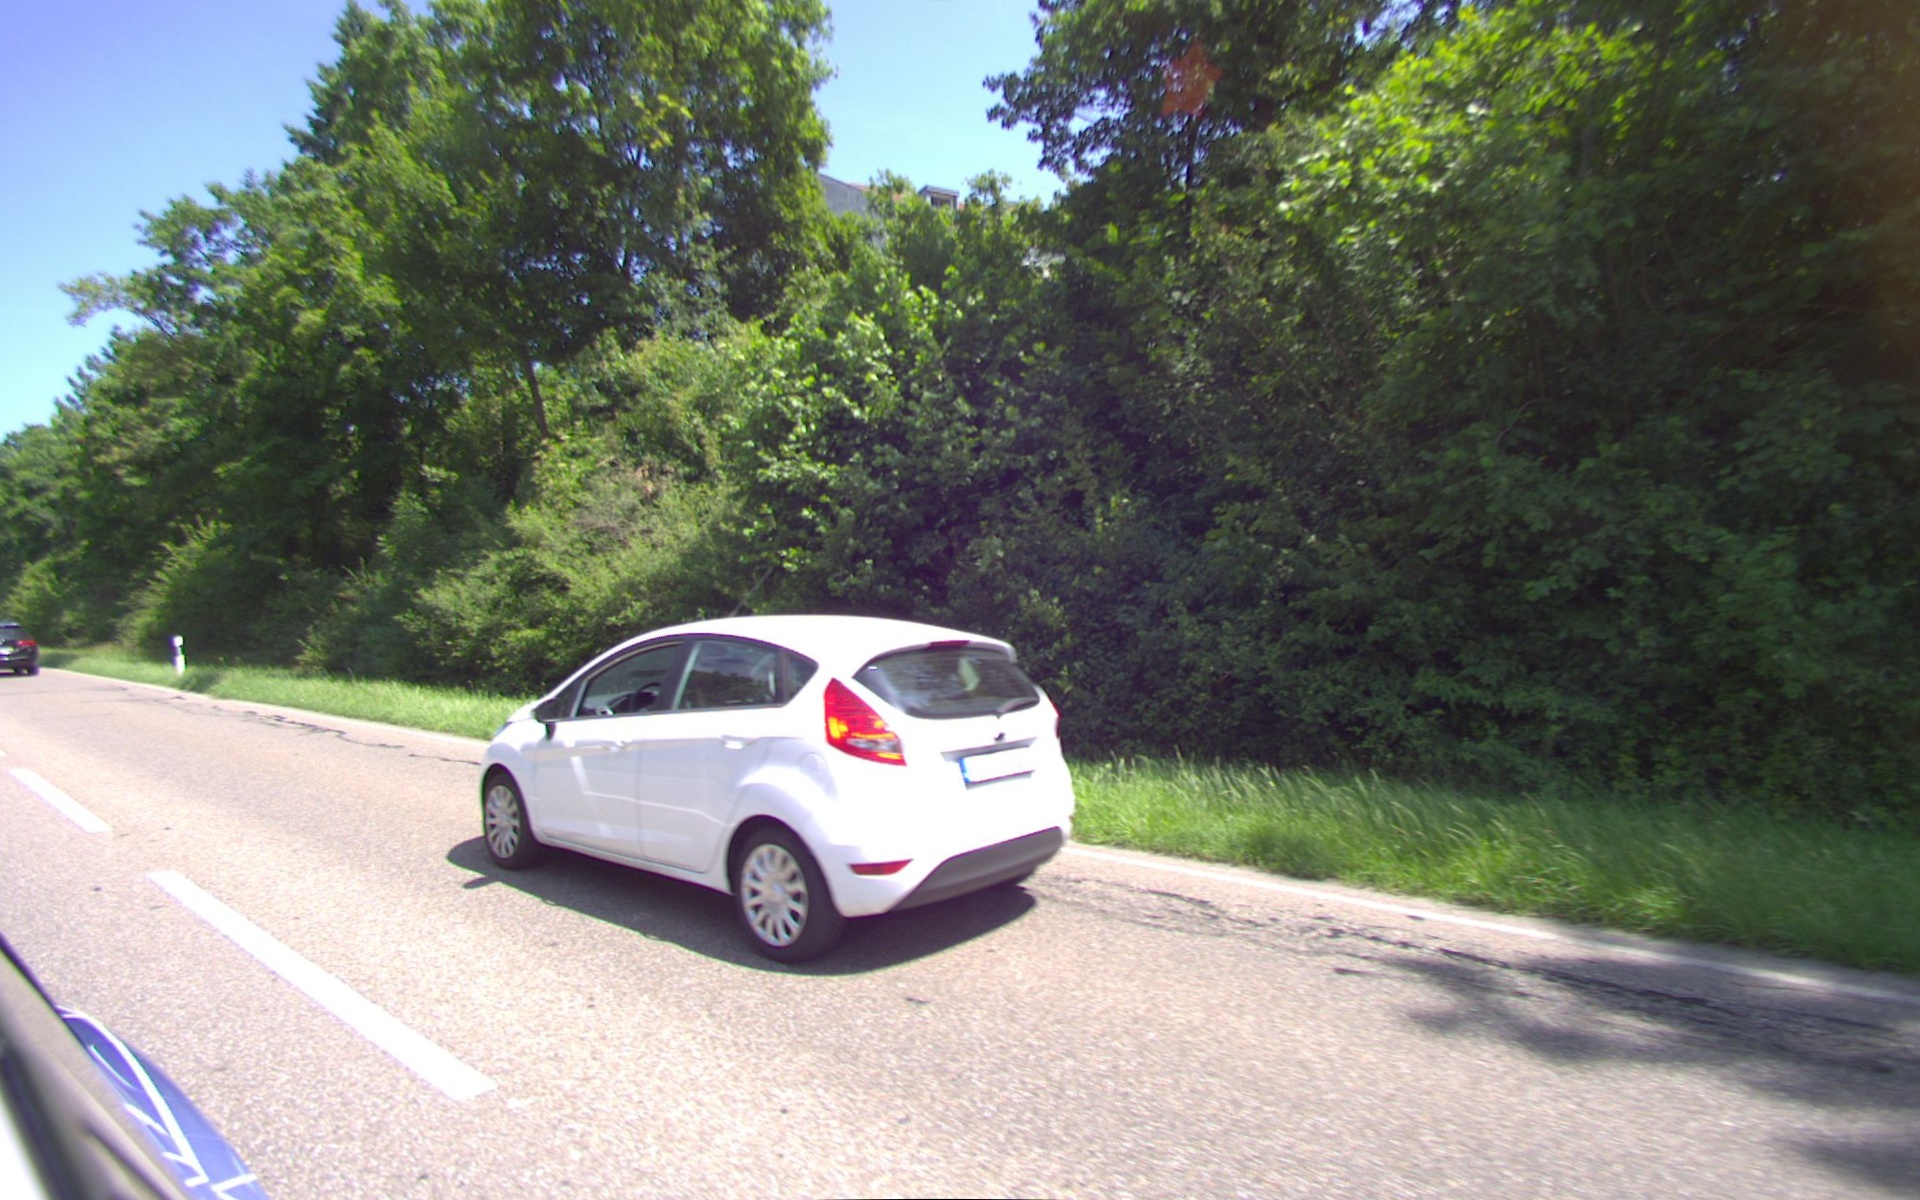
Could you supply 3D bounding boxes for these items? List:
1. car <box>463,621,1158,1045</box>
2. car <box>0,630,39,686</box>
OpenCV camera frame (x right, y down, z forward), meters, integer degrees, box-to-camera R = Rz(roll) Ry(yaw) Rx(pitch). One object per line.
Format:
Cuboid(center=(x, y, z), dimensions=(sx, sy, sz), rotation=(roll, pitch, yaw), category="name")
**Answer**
Cuboid(center=(-1.026, 0.851, 5.385), dimensions=(3.771, 1.444, 1.659), rotation=(-2, -2, 42), category="car")
Cuboid(center=(-26.908, 1.588, 28.013), dimensions=(4.109, 1.460, 1.764), rotation=(-2, -1, 43), category="car")
